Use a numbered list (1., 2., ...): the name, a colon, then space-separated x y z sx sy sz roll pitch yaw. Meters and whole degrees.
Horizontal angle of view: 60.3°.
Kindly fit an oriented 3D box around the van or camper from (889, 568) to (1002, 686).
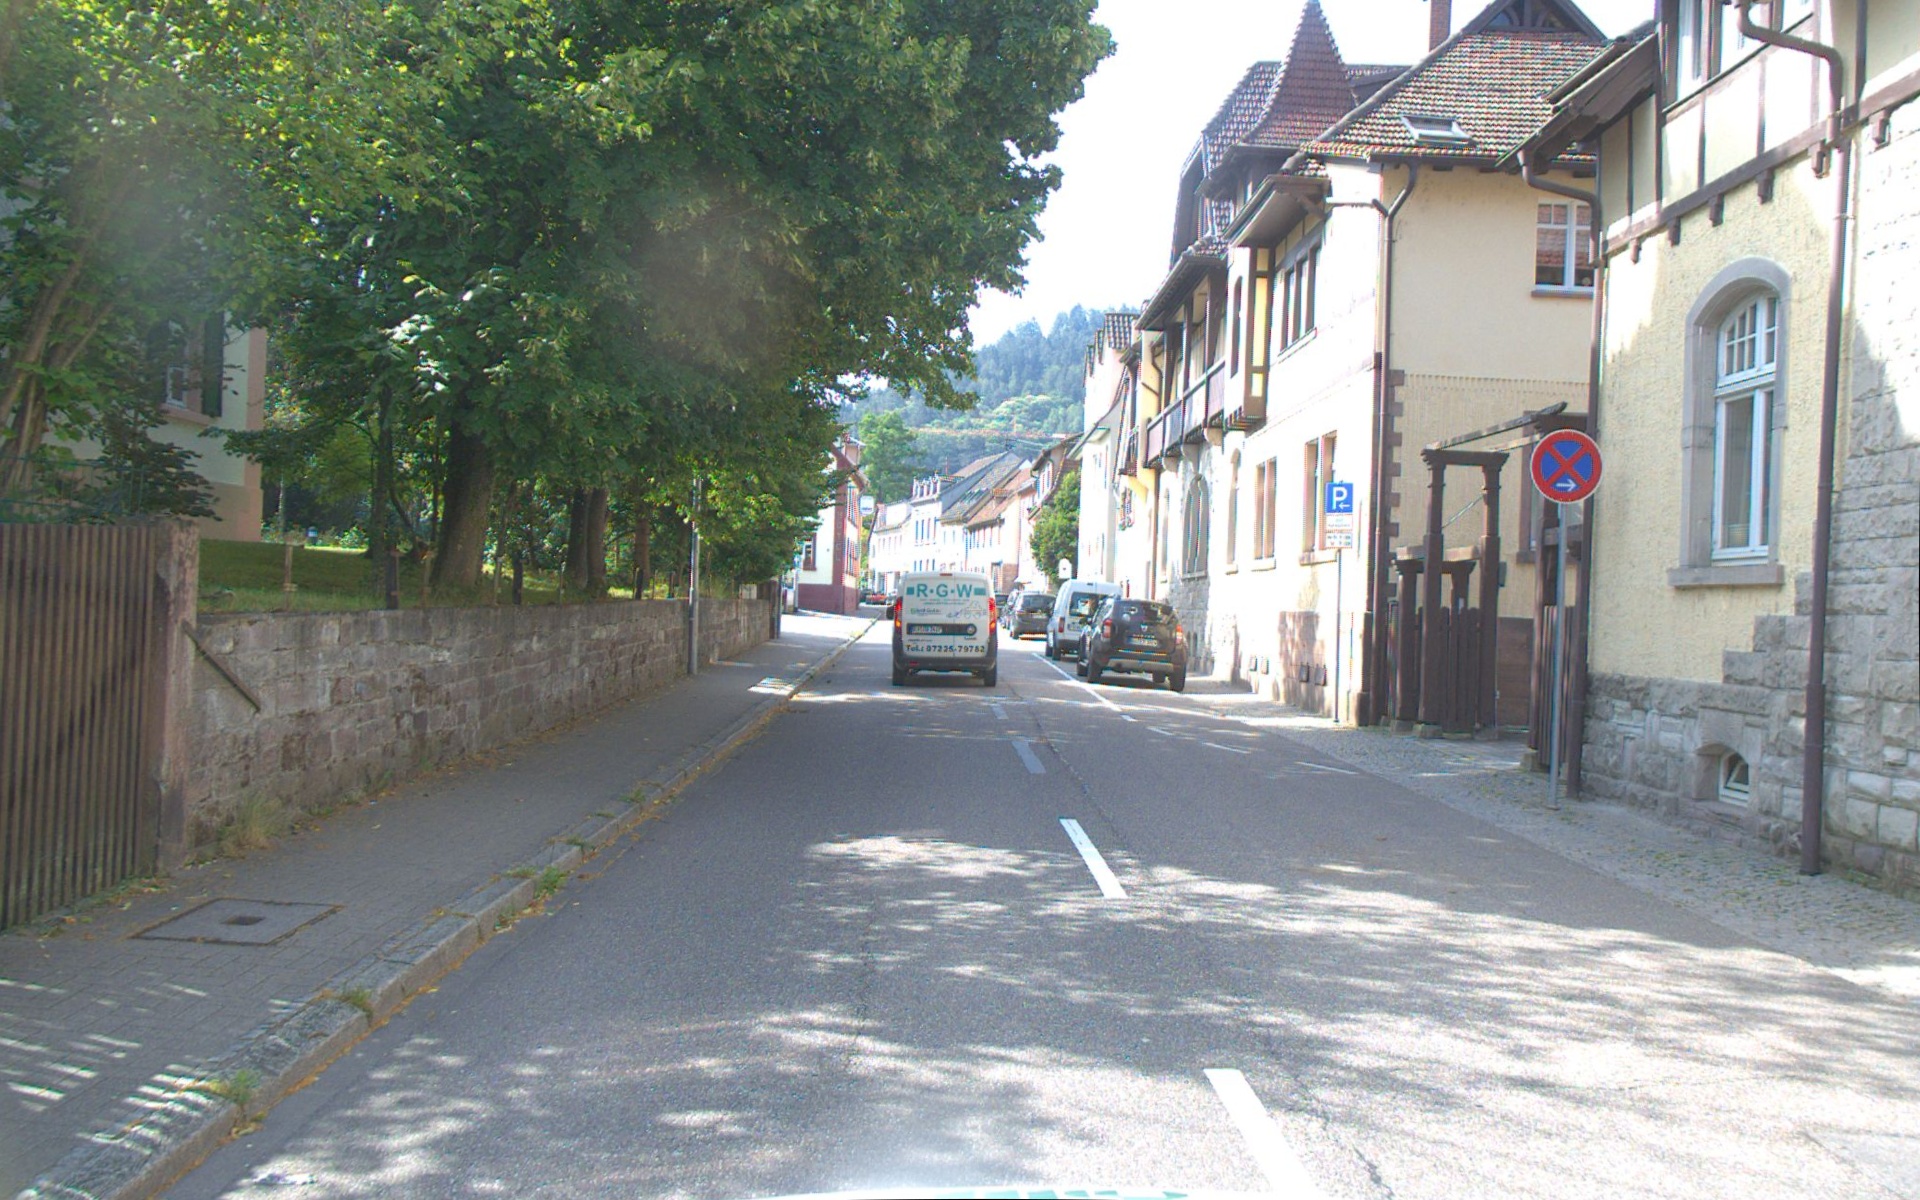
1. van or camper: -0.295 0.392 28.562 1.791 1.876 4.187 0 1 -2

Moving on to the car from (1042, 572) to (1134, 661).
1. car: 3.179 0.389 41.789 1.833 2.048 3.999 3 0 -1

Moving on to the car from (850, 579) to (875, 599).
1. car: -9.309 -1.067 157.528 1.740 1.830 3.988 2 0 -12

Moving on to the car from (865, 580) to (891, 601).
1. car: -7.482 -0.848 151.121 1.740 1.830 3.988 2 0 -12

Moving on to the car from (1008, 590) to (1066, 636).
1. car: 2.677 0.446 58.175 1.636 1.534 3.998 1 0 -3

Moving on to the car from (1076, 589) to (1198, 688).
1. car: 3.306 0.681 31.547 1.774 1.624 3.926 4 0 -1

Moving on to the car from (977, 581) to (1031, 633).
1. car: 1.823 0.287 70.094 1.954 2.049 3.998 2 0 -3
